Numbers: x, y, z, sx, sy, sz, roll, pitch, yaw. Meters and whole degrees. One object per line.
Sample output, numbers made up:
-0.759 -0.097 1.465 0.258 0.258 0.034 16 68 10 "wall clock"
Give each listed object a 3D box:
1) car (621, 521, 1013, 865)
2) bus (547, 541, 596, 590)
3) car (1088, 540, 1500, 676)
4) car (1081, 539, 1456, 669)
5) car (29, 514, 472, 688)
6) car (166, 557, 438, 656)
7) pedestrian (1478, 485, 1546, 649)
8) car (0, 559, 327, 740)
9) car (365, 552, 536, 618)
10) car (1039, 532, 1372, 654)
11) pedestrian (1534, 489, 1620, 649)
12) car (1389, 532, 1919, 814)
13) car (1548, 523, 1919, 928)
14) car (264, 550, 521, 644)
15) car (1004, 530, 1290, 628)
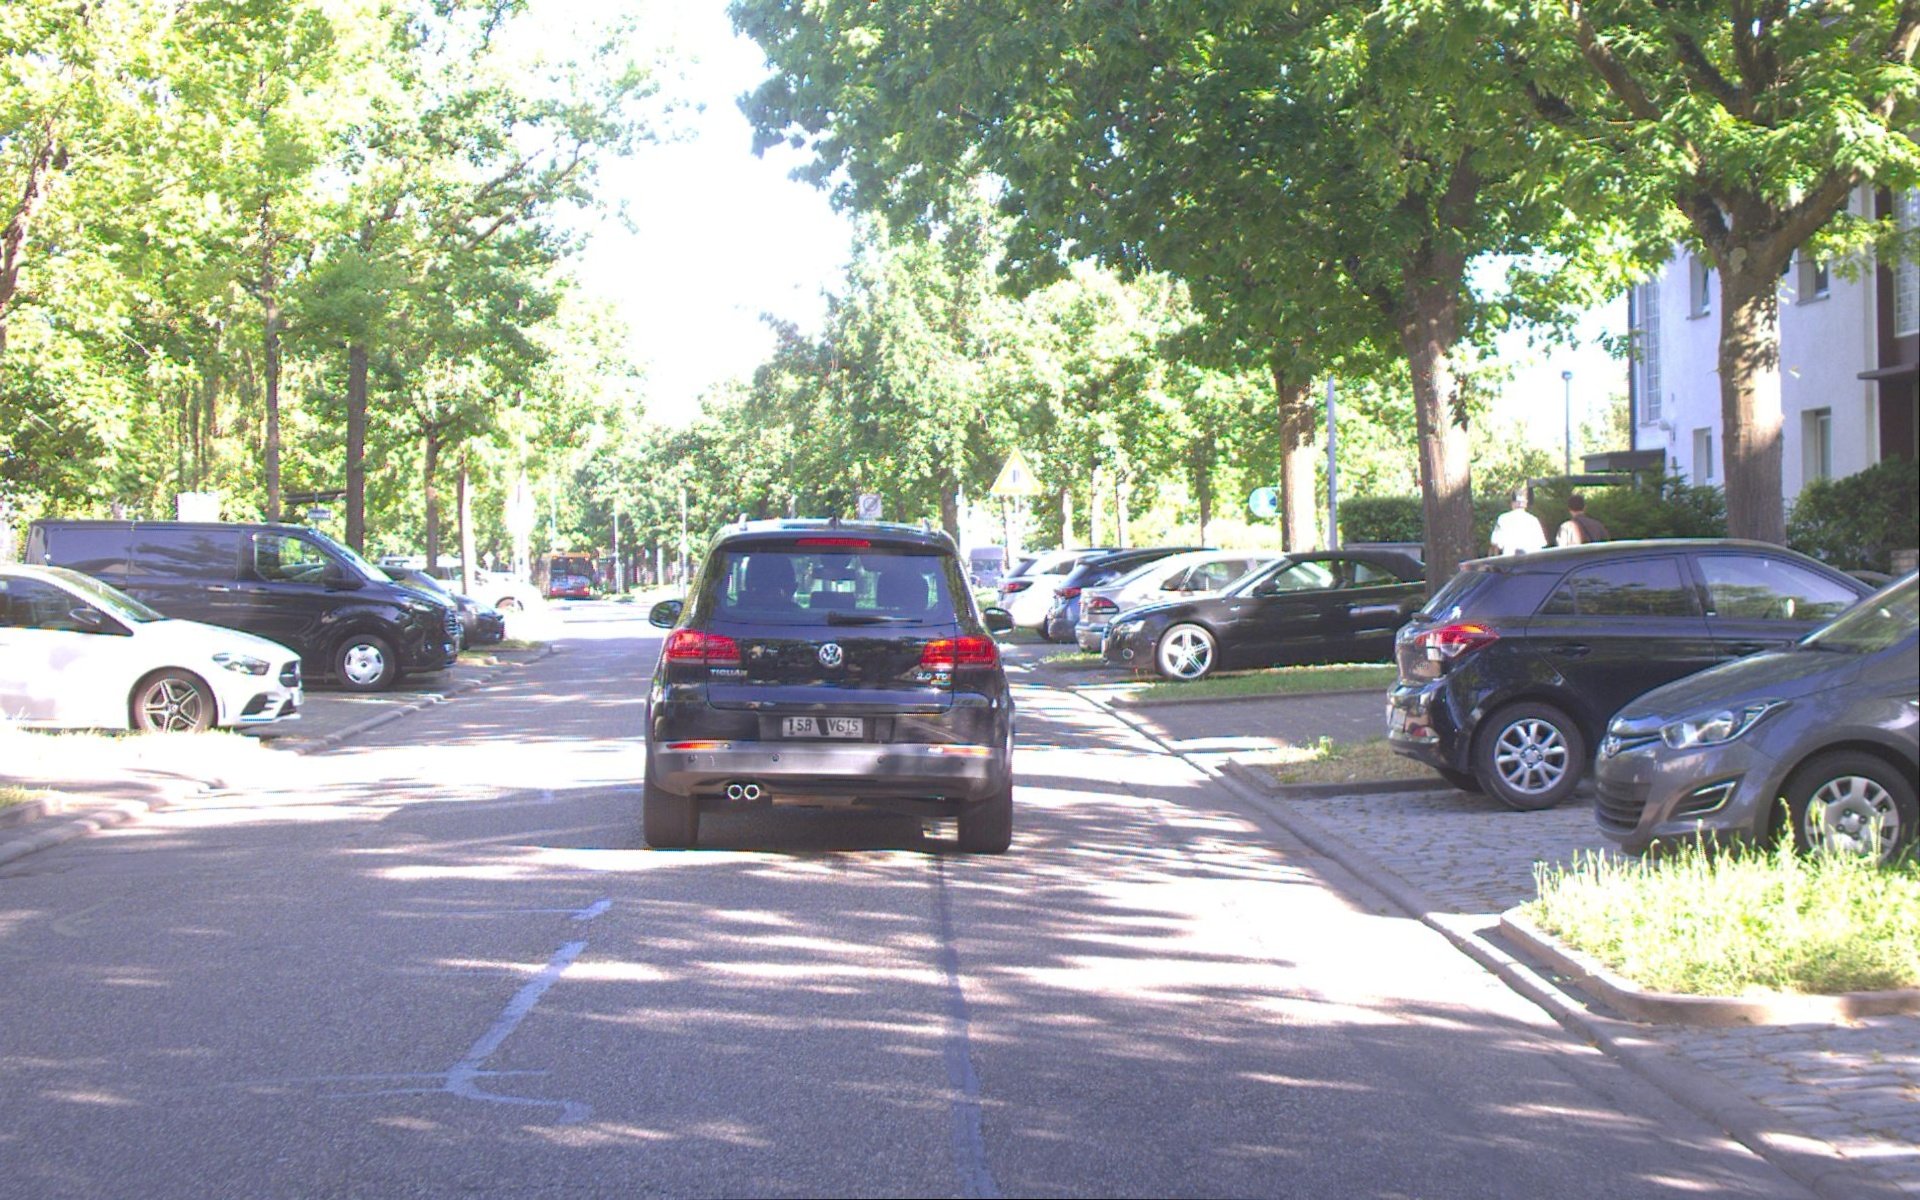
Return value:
-0.648 0.416 18.268 1.838 1.631 3.958 0 1 1 "car"
-24.608 -2.160 217.750 2.928 2.993 5.738 -1 0 -6 "bus"
3.685 0.080 38.430 4.345 1.358 1.874 -2 0 -2 "car"
3.657 0.033 41.232 4.276 1.409 1.797 -2 1 -1 "car"
-8.180 -0.011 39.987 4.778 1.910 2.019 -1 1 -3 "car"
-9.894 0.080 51.899 3.818 1.414 1.772 -1 1 -3 "car"
6.402 -0.376 39.890 0.608 1.867 0.924 -1 0 0 "pedestrian"
-7.760 0.413 29.644 4.275 1.473 1.769 -1 1 -1 "car"
-13.096 -0.396 88.605 4.241 1.617 1.897 -1 0 -6 "car"
3.257 -0.110 46.188 4.276 1.498 1.797 -2 1 -1 "car"
7.161 -0.357 39.903 0.835 1.822 0.710 -1 0 0 "pedestrian"
4.547 0.392 19.904 3.882 1.511 1.661 -1 0 0 "car"
4.744 0.480 14.919 3.986 1.618 1.757 -1 0 -4 "car"
-9.048 -0.061 55.008 3.857 1.454 1.713 0 1 -1 "car"
2.951 -0.346 54.905 4.428 1.486 1.797 -1 1 -1 "car"
